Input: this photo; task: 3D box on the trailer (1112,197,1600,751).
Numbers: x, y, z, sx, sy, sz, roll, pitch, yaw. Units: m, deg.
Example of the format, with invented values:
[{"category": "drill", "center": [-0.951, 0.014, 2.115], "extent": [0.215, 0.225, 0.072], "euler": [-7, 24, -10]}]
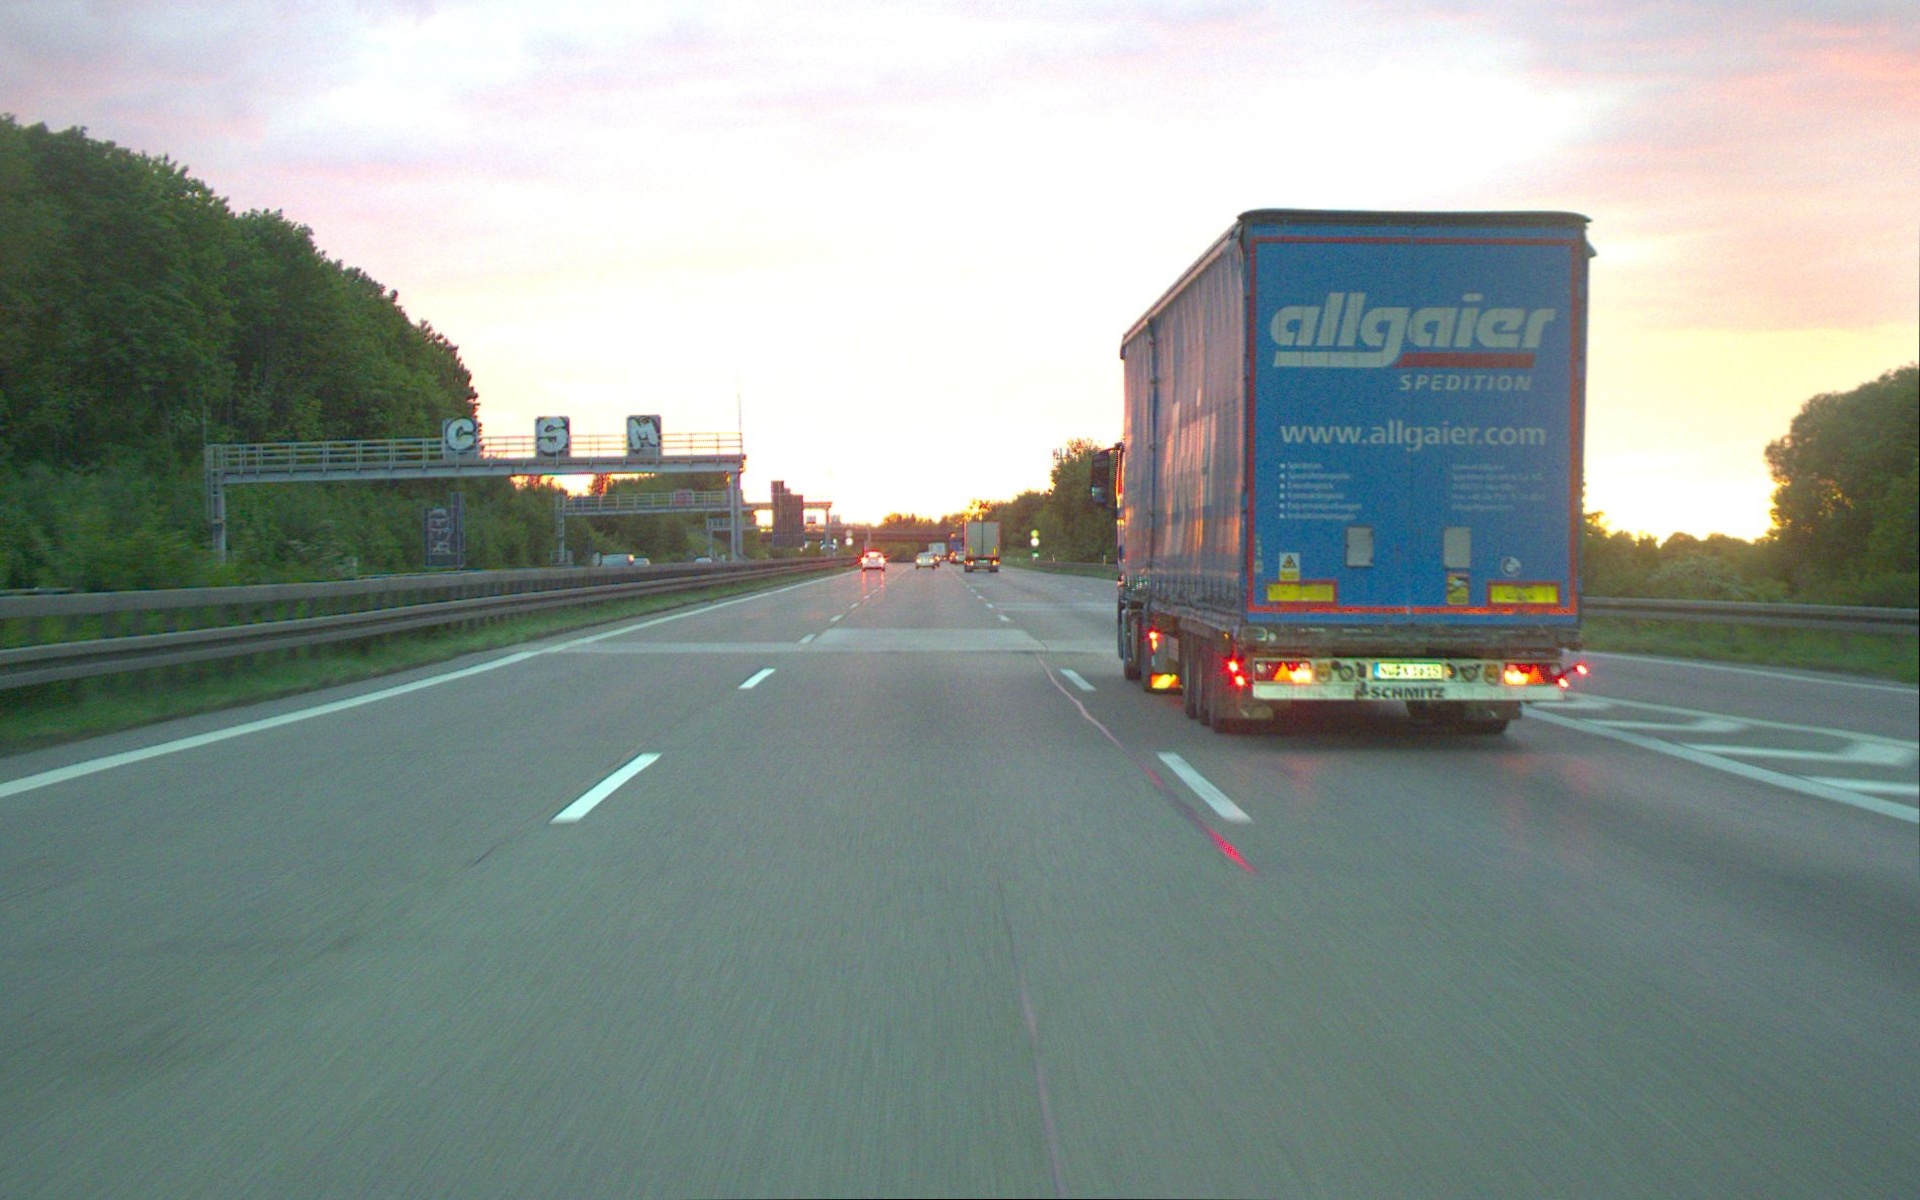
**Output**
[{"category": "trailer", "center": [3.228, -1.011, 32.278], "extent": [2.771, 4.072, 13.740], "euler": [0, 1, -1]}]

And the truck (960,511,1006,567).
[{"category": "truck", "center": [1.779, -4.620, 261.263], "extent": [3.244, 4.113, 9.786], "euler": [-1, 1, 1]}]

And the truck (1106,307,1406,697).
[{"category": "truck", "center": [3.153, -1.037, 38.132], "extent": [2.736, 3.983, 5.849], "euler": [0, 1, -1]}]
